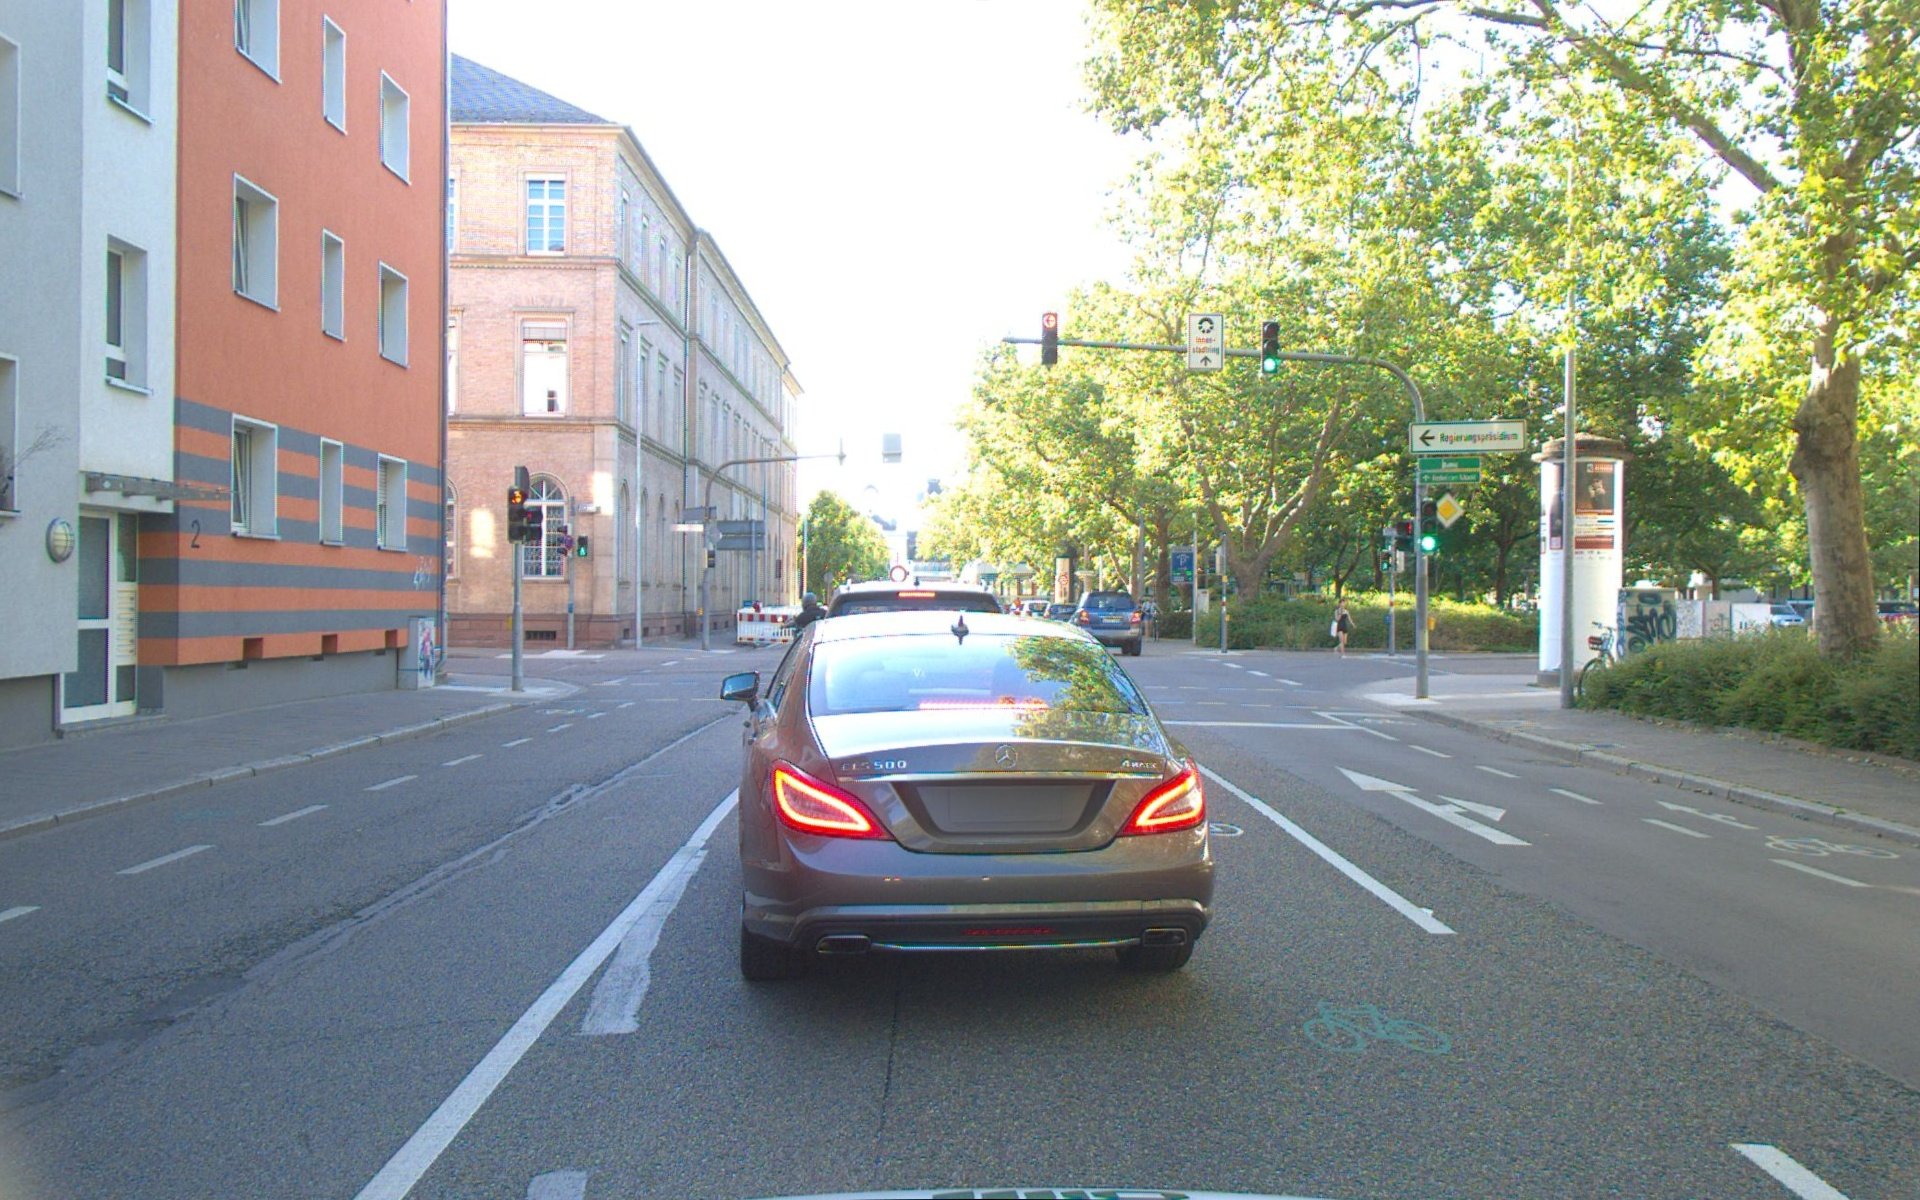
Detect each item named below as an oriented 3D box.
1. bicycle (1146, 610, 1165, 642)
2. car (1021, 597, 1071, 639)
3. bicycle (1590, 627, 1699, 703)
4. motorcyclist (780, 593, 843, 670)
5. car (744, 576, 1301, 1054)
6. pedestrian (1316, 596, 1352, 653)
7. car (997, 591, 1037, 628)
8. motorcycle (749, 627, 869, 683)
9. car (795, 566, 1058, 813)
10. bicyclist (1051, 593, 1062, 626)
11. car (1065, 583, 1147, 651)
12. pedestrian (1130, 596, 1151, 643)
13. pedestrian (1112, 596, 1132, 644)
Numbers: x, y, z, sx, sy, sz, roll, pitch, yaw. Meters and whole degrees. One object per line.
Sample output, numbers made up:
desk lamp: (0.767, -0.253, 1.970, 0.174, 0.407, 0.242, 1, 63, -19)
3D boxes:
bicycle: (7.470, 0.990, 63.193, 0.472, 1.223, 1.606, 1, 0, -1)
car: (3.321, 0.680, 64.557, 1.670, 1.545, 3.999, 1, 0, -1)
bicycle: (9.878, 0.926, 23.837, 1.868, 1.046, 0.633, 1, -1, -39)
motorcyclist: (-2.604, 0.545, 29.003, 0.785, 1.317, 0.788, 1, -1, 28)
car: (-0.026, 0.695, 7.464, 1.826, 1.545, 3.993, 1, 0, -8)
pedestrian: (10.482, 0.686, 46.398, 0.625, 1.572, 0.907, 1, -1, -15)
car: (2.696, 0.450, 78.425, 1.696, 1.691, 3.680, 1, 0, -1)
motorcycle: (-2.651, 0.952, 29.021, 2.014, 0.908, 0.754, 1, 0, 29)
car: (-0.263, 0.625, 13.592, 1.823, 1.712, 3.999, 1, 0, -1)
bicyclist: (6.115, 0.610, 105.230, 0.583, 2.075, 0.565, 1, -1, -5)
car: (4.047, 0.453, 46.515, 1.823, 1.794, 4.481, 1, 0, -1)
pedestrian: (6.909, 0.747, 63.319, 0.623, 1.791, 0.698, 1, -1, -5)
pedestrian: (6.181, 0.755, 63.240, 0.623, 1.828, 0.698, 1, -1, -5)
